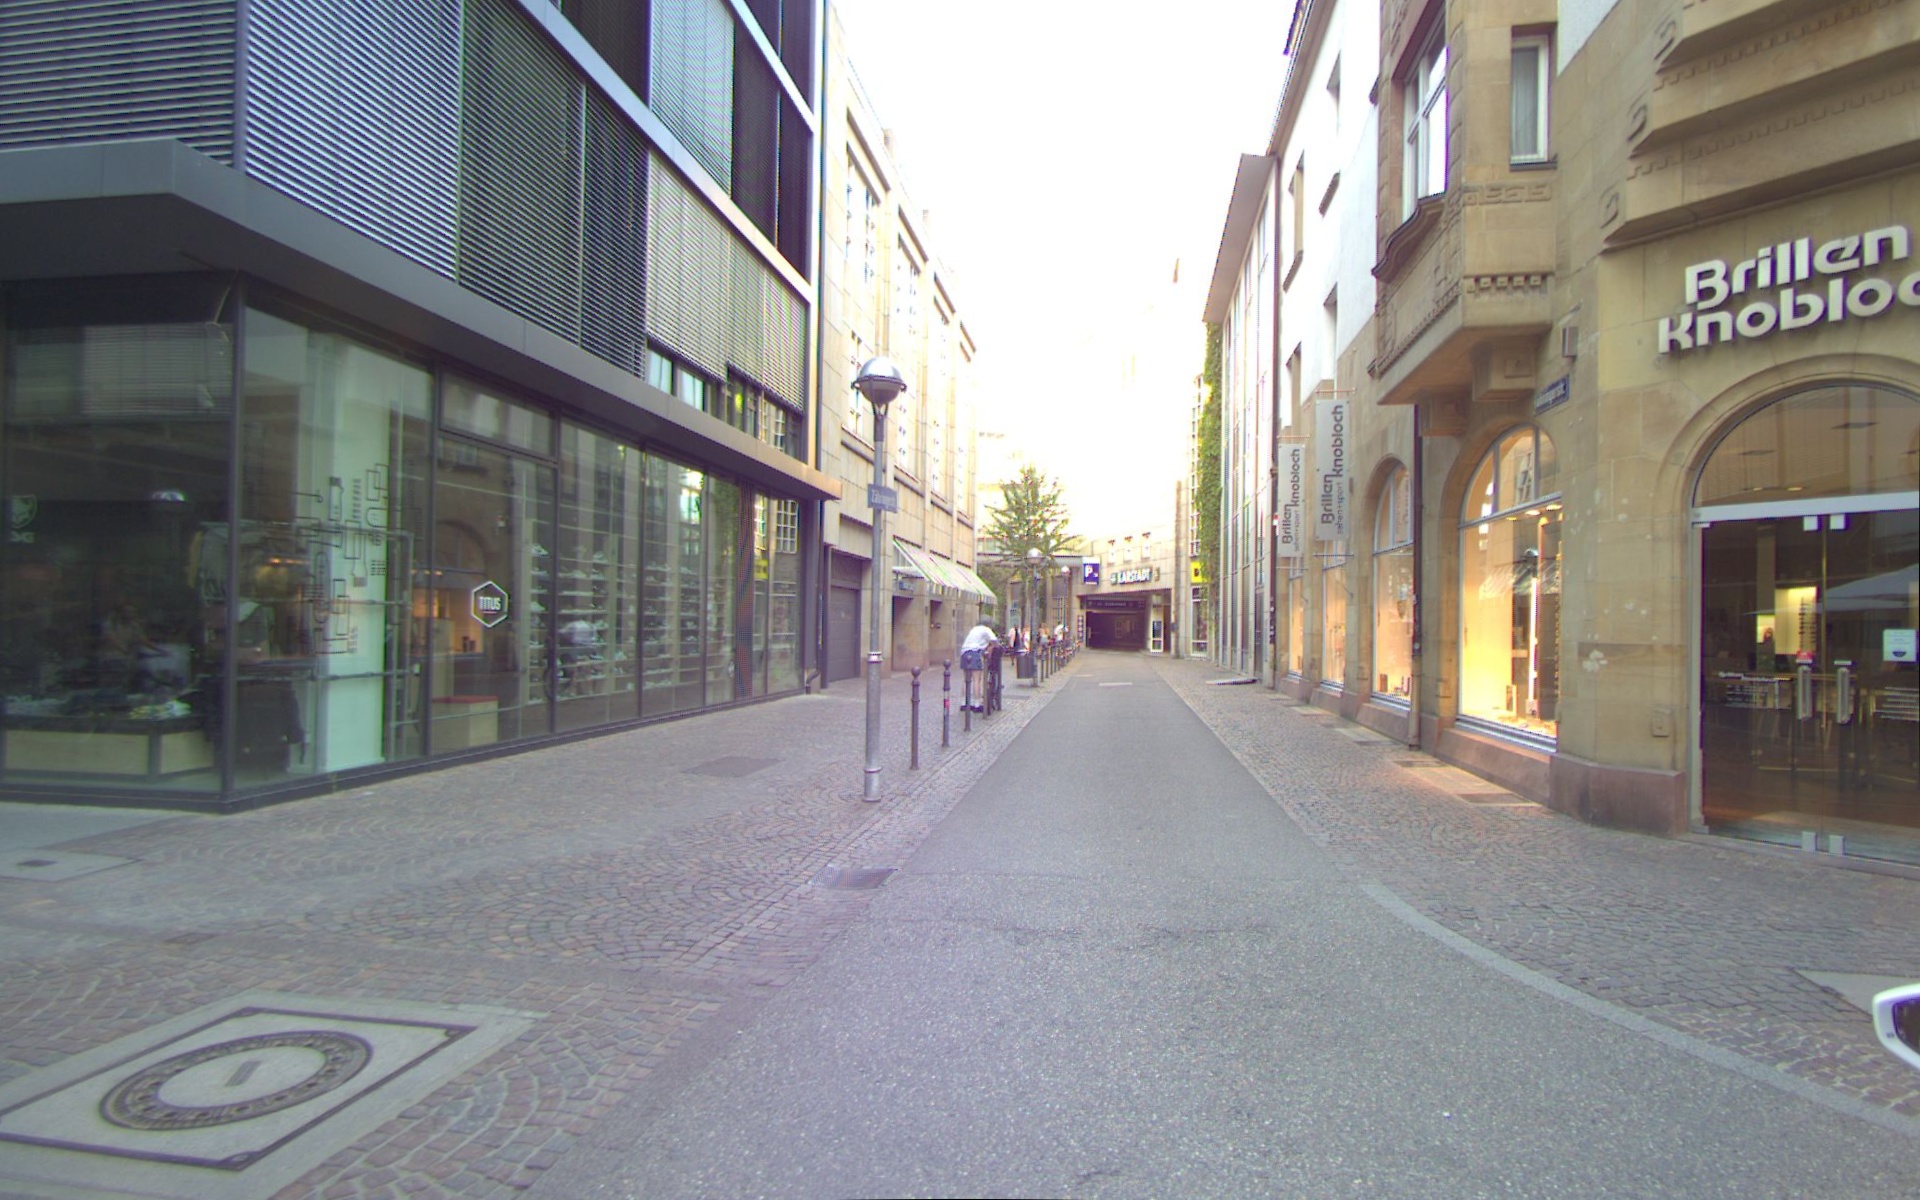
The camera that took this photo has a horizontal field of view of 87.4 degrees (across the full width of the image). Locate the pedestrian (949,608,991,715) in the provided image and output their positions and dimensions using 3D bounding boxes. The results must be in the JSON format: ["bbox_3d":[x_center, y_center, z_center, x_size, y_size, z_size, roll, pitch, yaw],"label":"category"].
[{"bbox_3d":[0.179,1.053,17.491,0.598,1.814,0.911,0,-1,8],"label":"pedestrian"}]

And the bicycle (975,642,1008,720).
[{"bbox_3d":[0.560,1.367,17.427,0.404,1.248,1.828,0,-1,7],"label":"bicycle"}]

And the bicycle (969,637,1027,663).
[{"bbox_3d":[1.840,2.412,48.557,2.716,1.216,0.732,1,-1,-10],"label":"bicycle"}]

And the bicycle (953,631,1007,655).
[{"bbox_3d":[1.041,2.239,51.844,2.716,1.216,0.732,1,-1,-10],"label":"bicycle"}]

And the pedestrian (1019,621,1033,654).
[{"bbox_3d":[3.278,1.869,49.891,0.580,1.625,0.666,1,-1,10],"label":"pedestrian"}]

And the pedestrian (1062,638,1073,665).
[{"bbox_3d":[4.739,2.270,44.237,0.458,1.183,0.522,1,-1,10],"label":"pedestrian"}]

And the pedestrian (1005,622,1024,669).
[{"bbox_3d":[2.089,1.753,38.604,0.646,1.787,0.616,1,-1,-4],"label":"pedestrian"}]

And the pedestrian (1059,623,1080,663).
[{"bbox_3d":[5.014,1.969,45.968,0.849,1.780,0.799,1,-1,10],"label":"pedestrian"}]

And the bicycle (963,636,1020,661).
[{"bbox_3d":[1.550,2.384,49.536,2.716,1.216,0.732,1,-1,-10],"label":"bicycle"}]

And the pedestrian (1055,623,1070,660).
[{"bbox_3d":[4.984,2.011,48.906,0.619,1.780,0.799,1,-1,10],"label":"pedestrian"}]

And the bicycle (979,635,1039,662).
[{"bbox_3d":[2.309,2.283,47.198,2.716,1.216,0.732,1,-1,-10],"label":"bicycle"}]

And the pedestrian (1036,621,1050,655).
[{"bbox_3d":[4.083,1.871,49.262,0.574,1.625,0.628,1,-1,10],"label":"pedestrian"}]

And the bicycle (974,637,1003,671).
[{"bbox_3d":[1.004,1.837,34.374,0.472,1.095,2.243,0,-1,15],"label":"bicycle"}]
